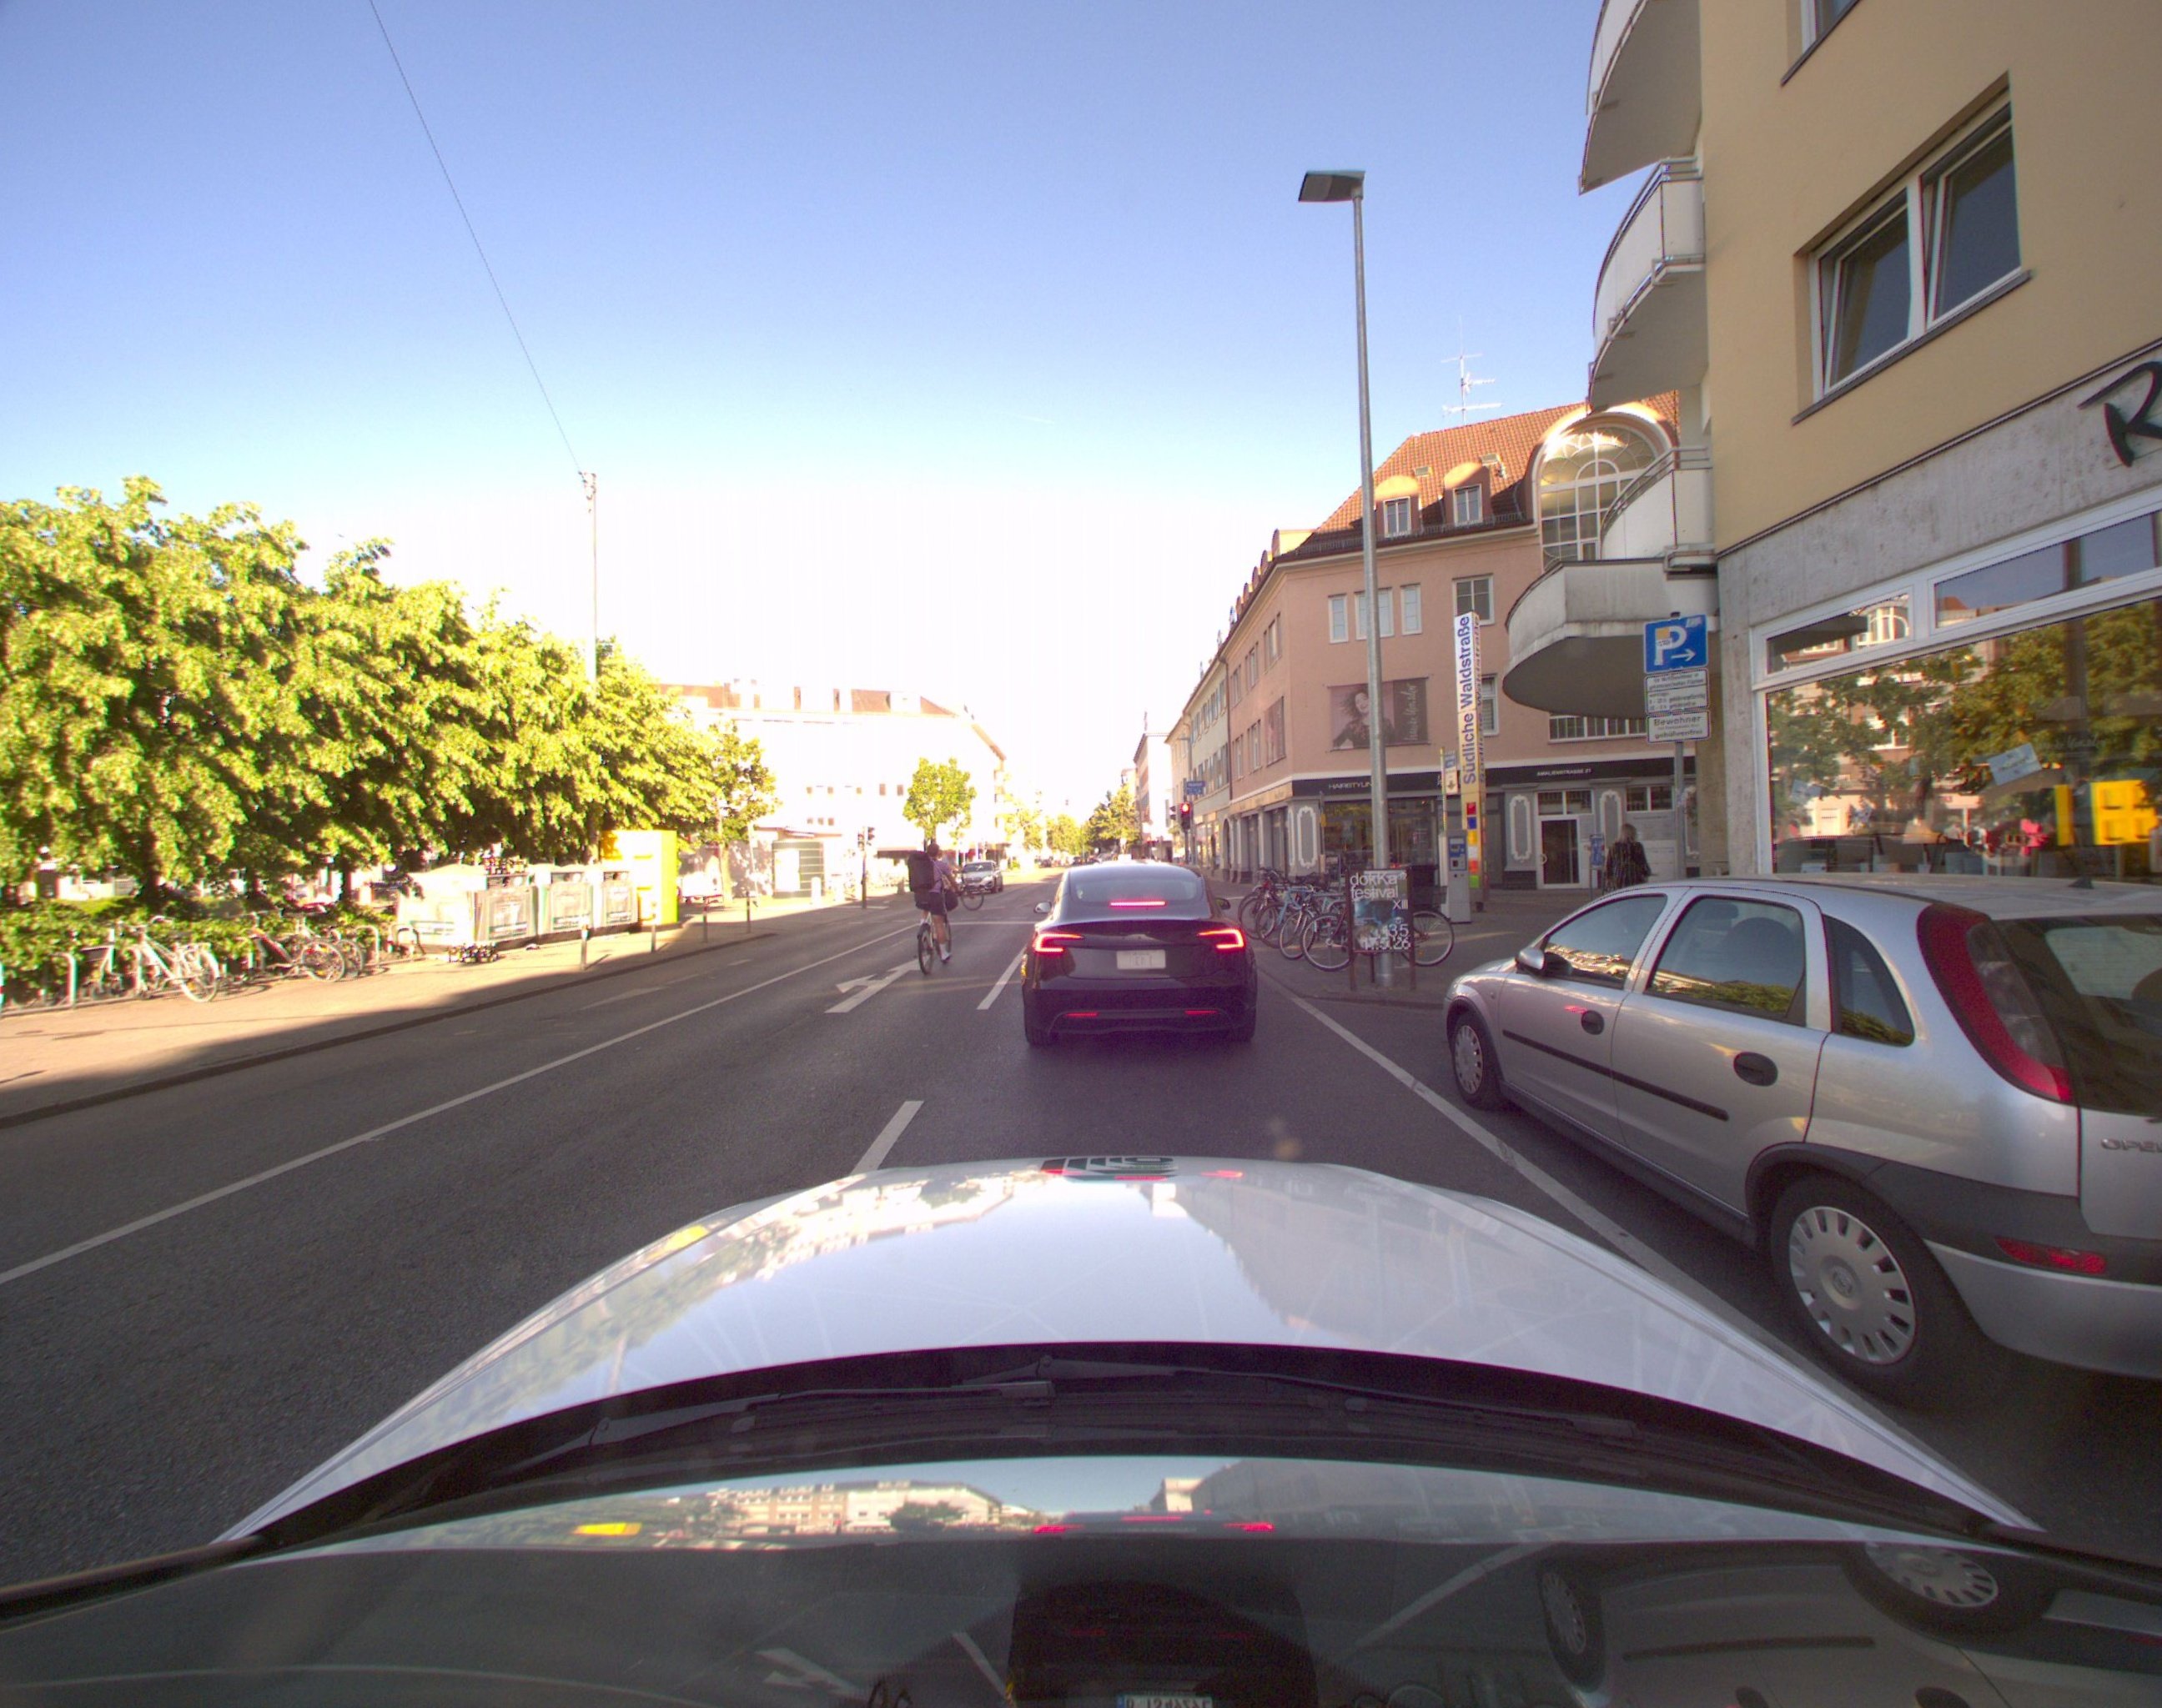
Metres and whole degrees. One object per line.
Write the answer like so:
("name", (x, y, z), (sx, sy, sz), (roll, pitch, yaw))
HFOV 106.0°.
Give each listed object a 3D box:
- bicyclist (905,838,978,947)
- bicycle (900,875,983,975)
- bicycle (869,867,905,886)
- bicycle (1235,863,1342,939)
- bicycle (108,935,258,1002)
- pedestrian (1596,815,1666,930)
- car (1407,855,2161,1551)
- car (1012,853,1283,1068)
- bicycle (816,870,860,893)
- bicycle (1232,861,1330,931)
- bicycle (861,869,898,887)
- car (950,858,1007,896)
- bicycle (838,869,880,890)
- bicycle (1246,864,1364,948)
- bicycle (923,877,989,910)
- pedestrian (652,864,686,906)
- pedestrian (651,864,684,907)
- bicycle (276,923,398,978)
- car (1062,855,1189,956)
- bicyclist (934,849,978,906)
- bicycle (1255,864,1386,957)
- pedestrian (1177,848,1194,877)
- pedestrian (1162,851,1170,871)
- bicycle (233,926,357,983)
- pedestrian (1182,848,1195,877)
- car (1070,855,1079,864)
("bicyclist", (-1.925, 0.508, 11.349), (0.793, 1.435, 1.008), (-1, 0, 1))
("bicycle", (-1.915, 0.941, 11.456), (0.793, 1.233, 1.774), (-1, 0, 2))
("bicycle", (-12.519, 1.451, 52.622), (2.075, 1.104, 0.806), (-1, 0, 1))
("bicycle", (3.450, 0.773, 13.619), (1.622, 1.160, 0.433), (-3, 0, 0))
("bicycle", (-11.424, 1.447, 10.366), (1.645, 0.769, 0.476), (-1, -1, 10))
("pedestrian", (8.092, 0.269, 11.989), (0.656, 1.633, 0.631), (-5, -2, 44))
("car", (2.961, 0.718, 3.595), (1.615, 1.394, 3.888), (-1, 0, 3))
("car", (0.546, 0.742, 7.528), (1.842, 1.455, 3.788), (-1, 0, 3))
("bicycle", (-12.846, 1.449, 43.135), (2.075, 1.104, 0.806), (-1, 0, 1))
("bicycle", (3.626, 0.762, 14.803), (1.621, 1.160, 0.433), (-3, 0, 2))
("bicycle", (-12.476, 1.480, 50.426), (2.075, 1.104, 0.806), (-1, 0, 1))
("car", (-4.835, 1.063, 38.879), (1.986, 1.541, 4.002), (-5, 0, 2))
("bicycle", (-12.429, 1.439, 45.647), (2.075, 1.104, 0.806), (-1, 0, 1))
("bicycle", (3.398, 0.773, 12.392), (1.622, 1.160, 0.433), (-3, 0, 0))
("bicycle", (-3.748, 1.186, 24.496), (1.850, 0.946, 0.631), (0, 0, 12))
("pedestrian", (-16.670, 1.245, 32.967), (0.981, 1.636, 0.738), (-1, 0, 5))
("pedestrian", (-16.715, 1.263, 32.911), (0.897, 1.725, 0.745), (-1, 0, 5))
("bicycle", (-11.246, 1.460, 12.327), (1.466, 0.769, 0.475), (-1, -1, 4))
("car", (0.750, 0.759, 13.910), (1.842, 1.455, 3.788), (-1, 0, 3))
("bicyclist", (-3.746, 0.697, 24.496), (1.112, 1.654, 0.631), (-1, 0, 12))
("bicycle", (3.292, 0.768, 11.246), (1.622, 1.160, 0.433), (-3, 0, 0))
("pedestrian", (6.629, 0.532, 51.740), (0.995, 1.850, 0.615), (-1, 0, 1))
("pedestrian", (7.149, 0.614, 68.496), (0.568, 1.691, 0.387), (-1, 0, 1))
("bicycle", (-11.344, 1.449, 11.771), (1.465, 0.769, 0.442), (-1, -1, 6))
("pedestrian", (6.816, 0.542, 51.649), (0.701, 1.783, 0.534), (-1, 0, 1))
("car", (-1.359, 1.176, 165.982), (1.824, 1.724, 4.000), (-1, 0, 0))
